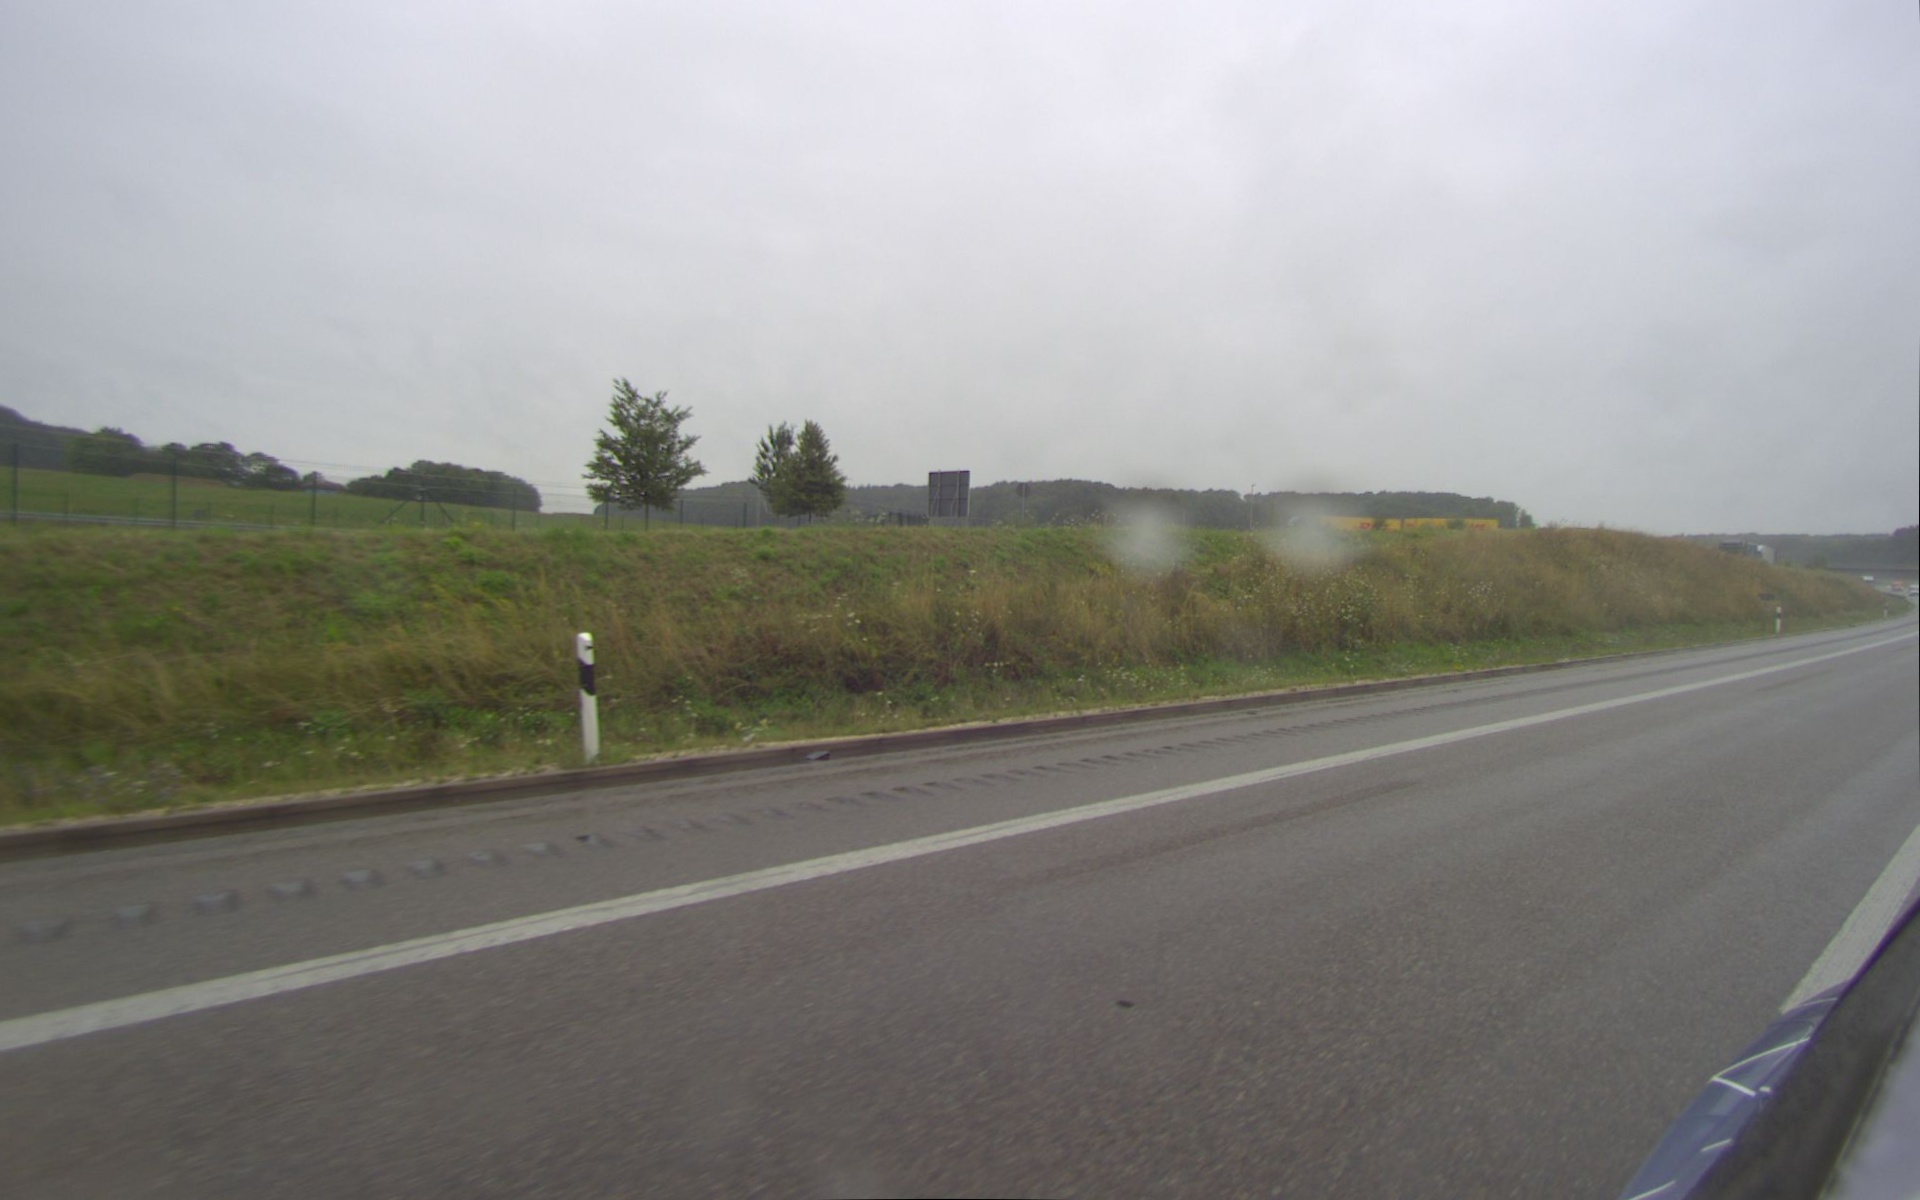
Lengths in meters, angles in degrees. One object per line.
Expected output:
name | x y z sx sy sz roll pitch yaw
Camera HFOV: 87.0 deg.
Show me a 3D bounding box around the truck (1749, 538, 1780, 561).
truck | 98.699 -6.136 124.080 2.425 2.599 4.998 0 1 45
